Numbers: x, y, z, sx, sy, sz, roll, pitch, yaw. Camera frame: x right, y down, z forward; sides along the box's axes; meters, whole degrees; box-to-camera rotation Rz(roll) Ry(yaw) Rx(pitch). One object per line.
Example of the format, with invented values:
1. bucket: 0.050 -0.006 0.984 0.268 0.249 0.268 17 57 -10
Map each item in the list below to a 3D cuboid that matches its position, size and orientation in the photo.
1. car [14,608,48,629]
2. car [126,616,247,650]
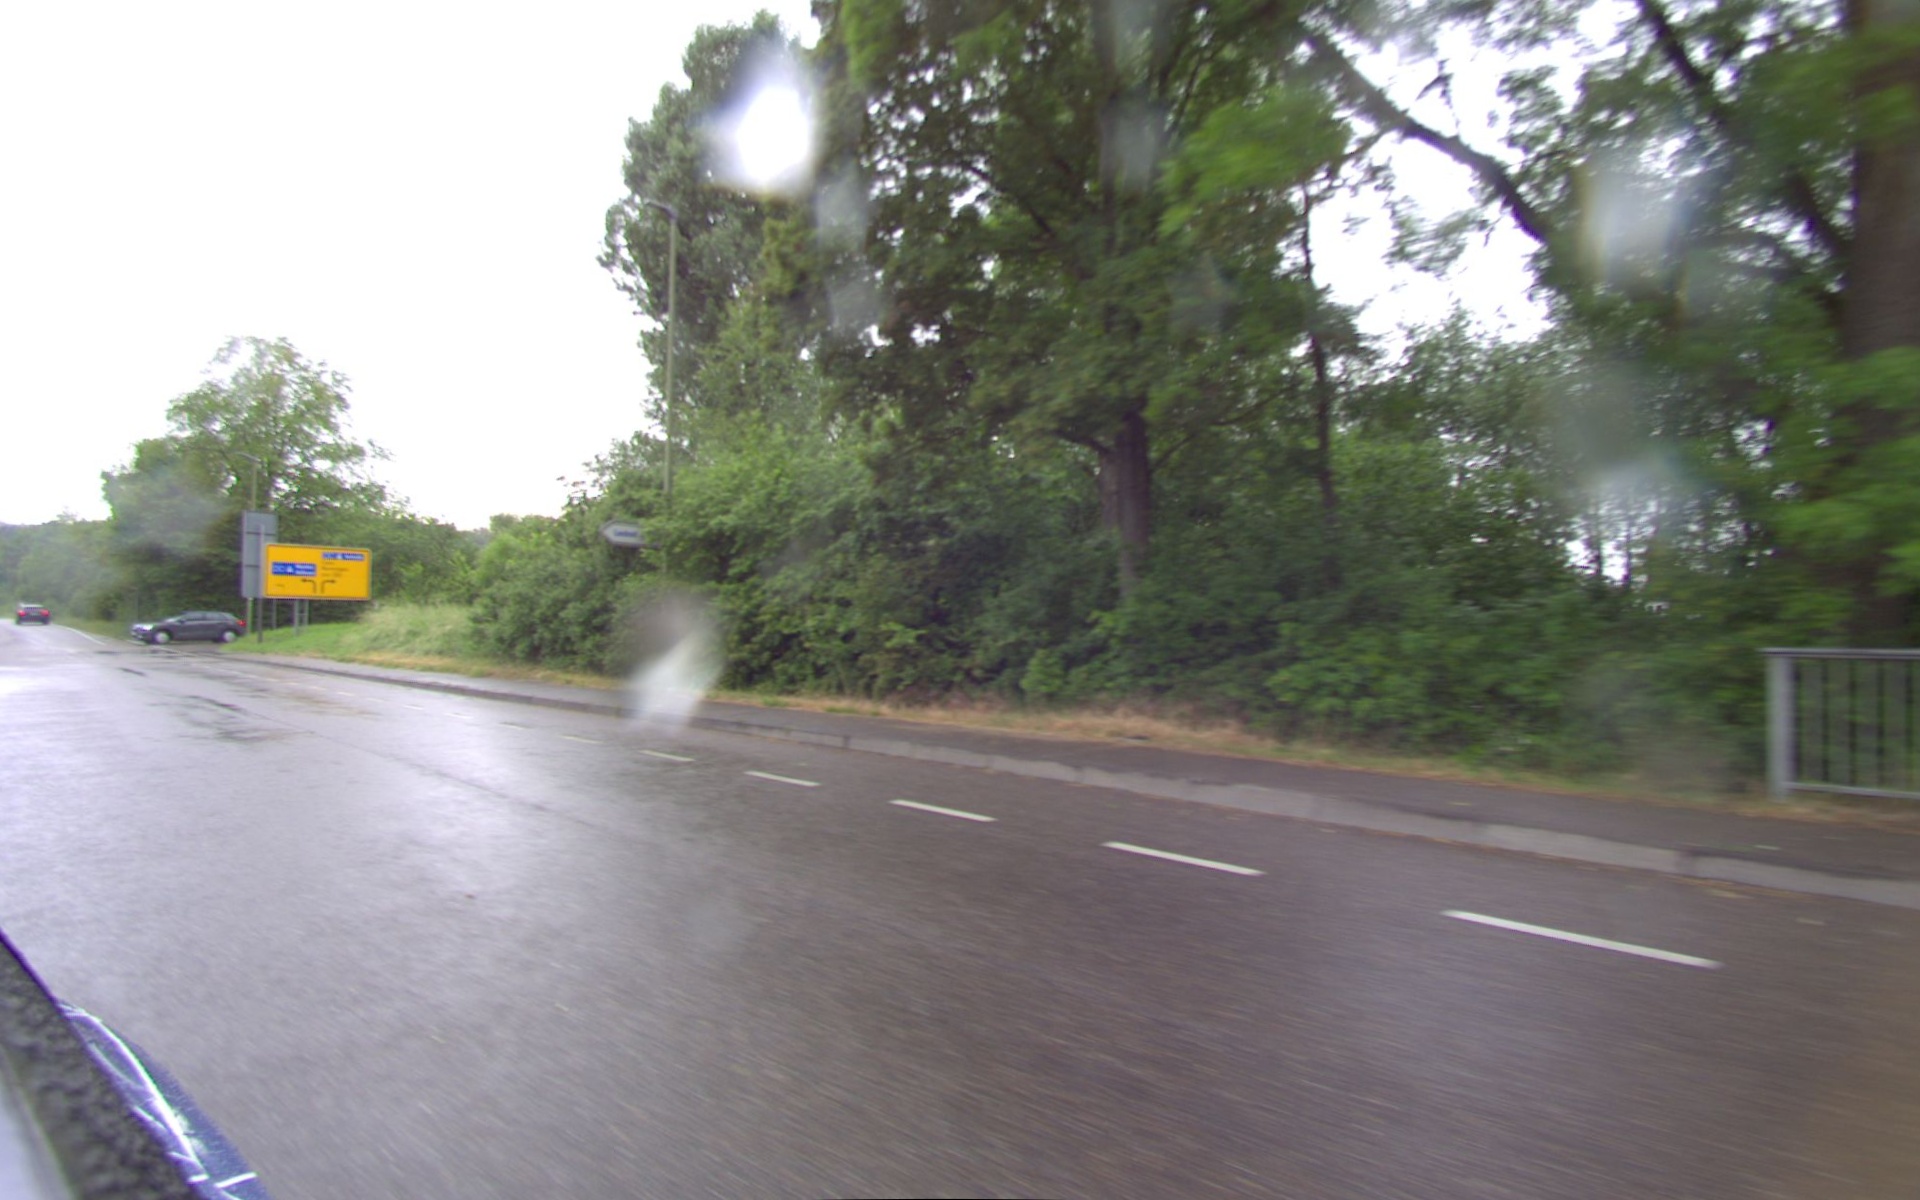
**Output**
1. car: -68.670 1.368 74.799 1.807 1.535 4.004 1 -1 -42
2. car: -35.539 1.472 46.557 1.853 1.501 4.071 -1 -1 35
